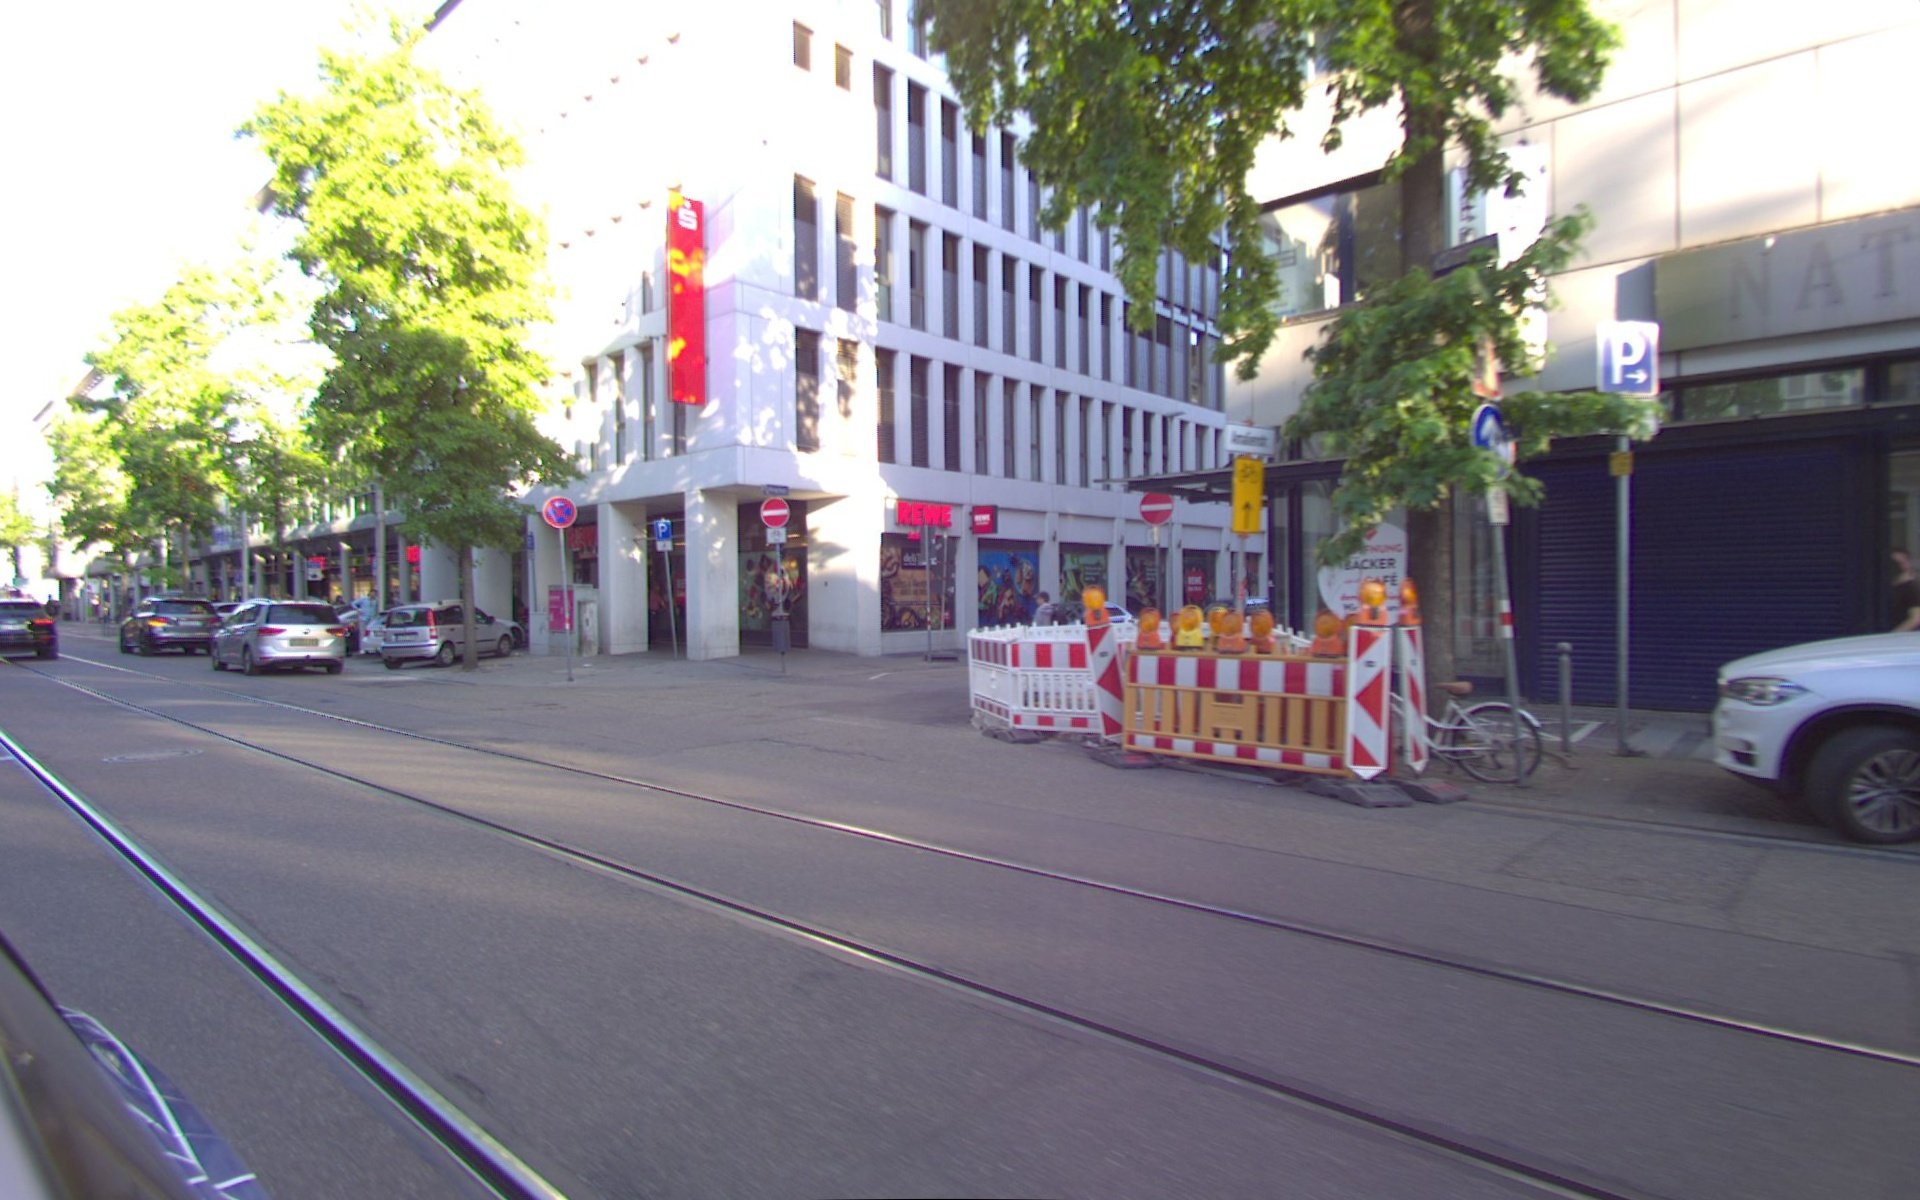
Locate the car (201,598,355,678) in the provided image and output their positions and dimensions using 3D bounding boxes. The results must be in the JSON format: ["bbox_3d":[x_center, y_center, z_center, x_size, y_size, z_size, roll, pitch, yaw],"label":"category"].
[{"bbox_3d":[-15.333,0.816,22.676,4.199,1.624,1.864,-1,-2,42],"label":"car"}]

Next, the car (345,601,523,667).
[{"bbox_3d":[-14.326,0.863,27.831,1.568,1.423,4.285,-1,3,23],"label":"car"}]

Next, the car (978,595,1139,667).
[{"bbox_3d":[2.437,0.699,24.290,1.841,1.553,3.944,-2,-1,42],"label":"car"}]

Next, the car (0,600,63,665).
[{"bbox_3d":[-26.605,0.888,28.141,4.199,1.699,2.012,-1,0,42],"label":"car"}]

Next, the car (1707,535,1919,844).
[{"bbox_3d":[7.179,0.452,5.595,4.743,1.767,1.973,-1,2,42],"label":"car"}]

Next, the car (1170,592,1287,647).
[{"bbox_3d":[8.293,0.564,31.051,1.841,1.553,3.944,-2,-1,42],"label":"car"}]

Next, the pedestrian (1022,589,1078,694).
[{"bbox_3d":[1.454,0.658,16.401,0.601,1.658,0.728,-1,0,-25],"label":"pedestrian"}]

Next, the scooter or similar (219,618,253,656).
[{"bbox_3d":[-24.313,1.228,33.980,2.127,1.258,0.572,-1,-1,45],"label":"scooter or similar"}]

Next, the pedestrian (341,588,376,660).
[{"bbox_3d":[-16.591,0.664,27.916,0.723,1.948,0.647,-1,-1,44],"label":"pedestrian"}]

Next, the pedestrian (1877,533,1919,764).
[{"bbox_3d":[8.653,0.422,9.063,0.592,2.029,0.608,-1,-1,41],"label":"pedestrian"}]

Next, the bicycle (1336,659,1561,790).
[{"bbox_3d":[3.871,0.953,8.100,0.496,0.843,1.536,-4,3,-42],"label":"bicycle"}]

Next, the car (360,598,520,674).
[{"bbox_3d":[-12.741,0.824,25.015,1.770,1.571,3.390,-1,3,11],"label":"car"}]

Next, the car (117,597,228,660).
[{"bbox_3d":[-24.409,0.853,31.317,4.199,1.820,2.012,-1,-1,42],"label":"car"}]
